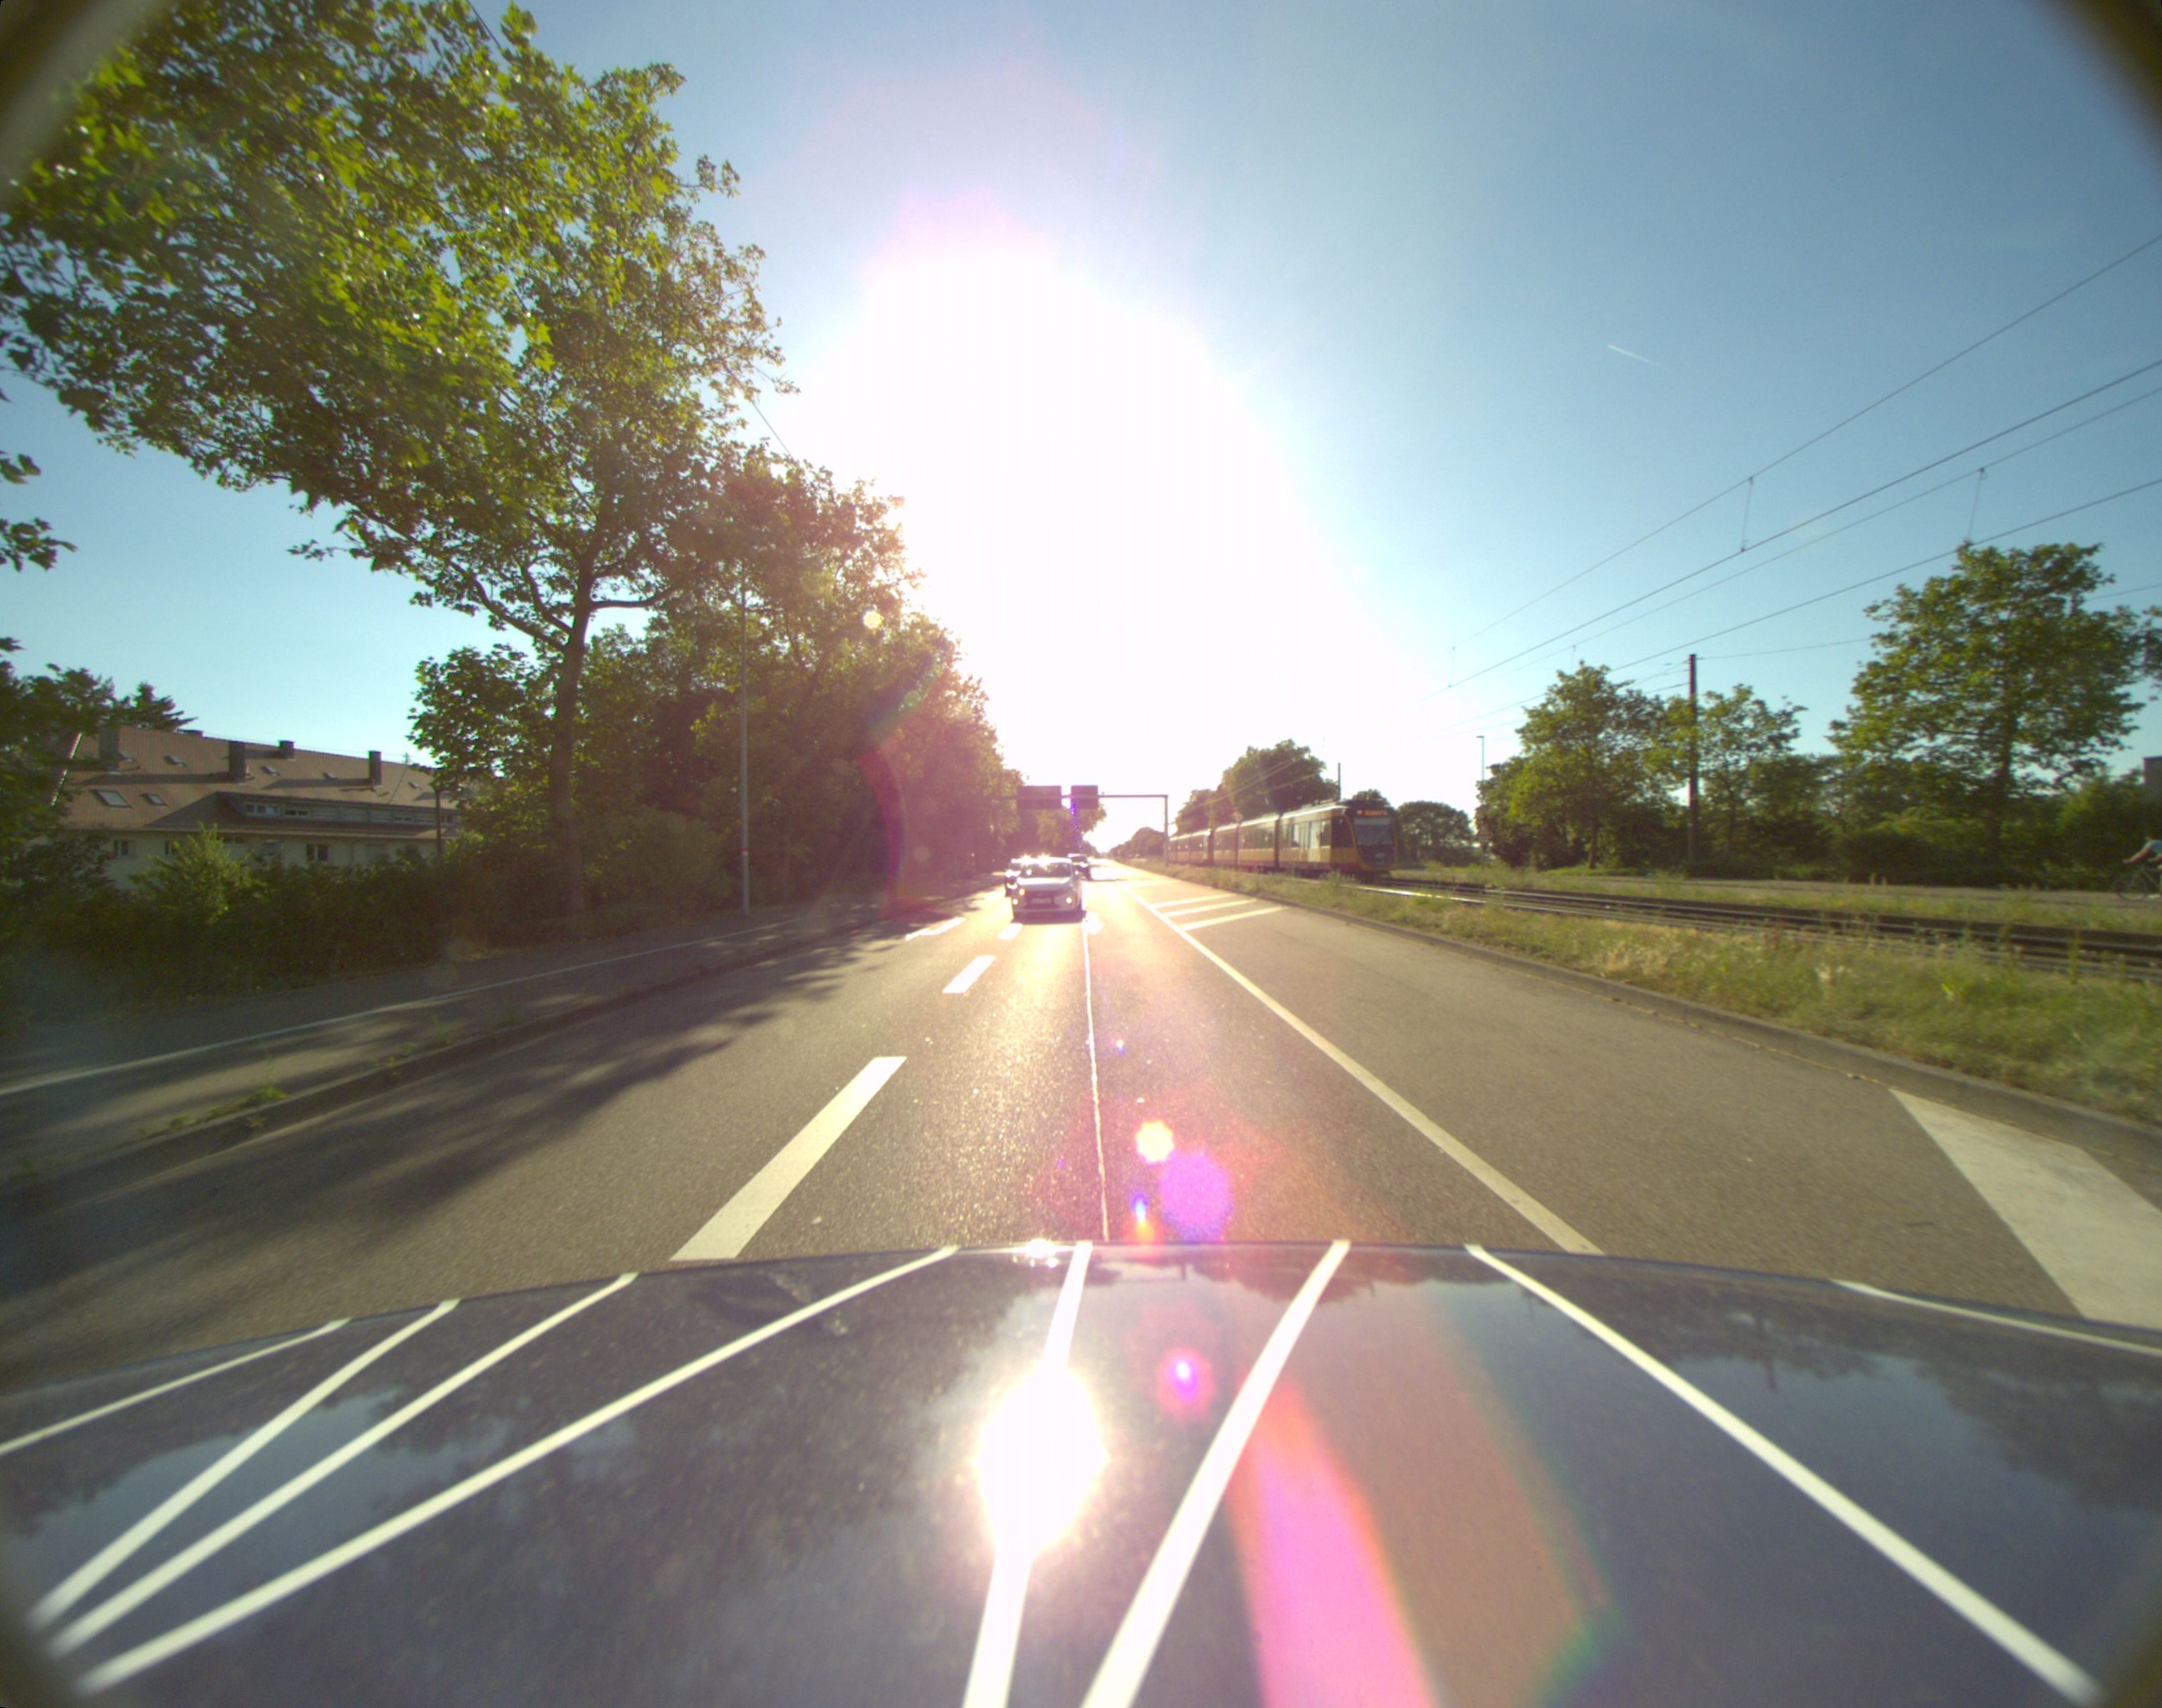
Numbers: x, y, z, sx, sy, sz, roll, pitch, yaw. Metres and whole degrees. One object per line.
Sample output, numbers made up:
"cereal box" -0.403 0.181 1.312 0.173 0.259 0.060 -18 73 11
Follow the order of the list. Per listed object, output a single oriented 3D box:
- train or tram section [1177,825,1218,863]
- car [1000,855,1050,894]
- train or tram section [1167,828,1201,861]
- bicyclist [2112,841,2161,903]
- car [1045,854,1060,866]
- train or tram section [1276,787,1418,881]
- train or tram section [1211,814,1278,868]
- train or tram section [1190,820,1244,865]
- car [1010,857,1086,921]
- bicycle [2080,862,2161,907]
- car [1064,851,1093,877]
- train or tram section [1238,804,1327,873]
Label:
"train or tram section" 13.169 -1.101 87.191 2.891 3.924 11.911 -1 0 0
"car" -2.355 0.858 33.080 1.786 1.530 4.000 -1 0 1
"train or tram section" 13.263 -1.169 98.968 2.891 3.924 11.665 -1 0 0
"bicyclist" 28.101 0.461 19.995 0.770 1.608 0.835 -1 1 1
"car" -3.610 0.784 96.387 1.744 1.455 3.998 -1 0 -3
"train or tram section" 12.781 -0.879 38.088 2.891 3.924 12.111 -1 0 0
"train or tram section" 12.961 -0.971 61.527 2.891 3.924 12.111 -1 0 0
"train or tram section" 13.070 -1.044 74.418 2.891 3.924 13.659 -1 0 0
"car" -0.799 0.876 20.555 1.670 1.465 3.744 -1 1 3
"bicycle" 28.067 0.801 19.848 0.632 1.121 2.528 -1 0 1
"car" -0.179 0.637 50.900 1.824 1.608 3.999 -1 0 -1
"train or tram section" 12.875 -0.927 49.796 2.891 3.924 11.339 -1 0 0
